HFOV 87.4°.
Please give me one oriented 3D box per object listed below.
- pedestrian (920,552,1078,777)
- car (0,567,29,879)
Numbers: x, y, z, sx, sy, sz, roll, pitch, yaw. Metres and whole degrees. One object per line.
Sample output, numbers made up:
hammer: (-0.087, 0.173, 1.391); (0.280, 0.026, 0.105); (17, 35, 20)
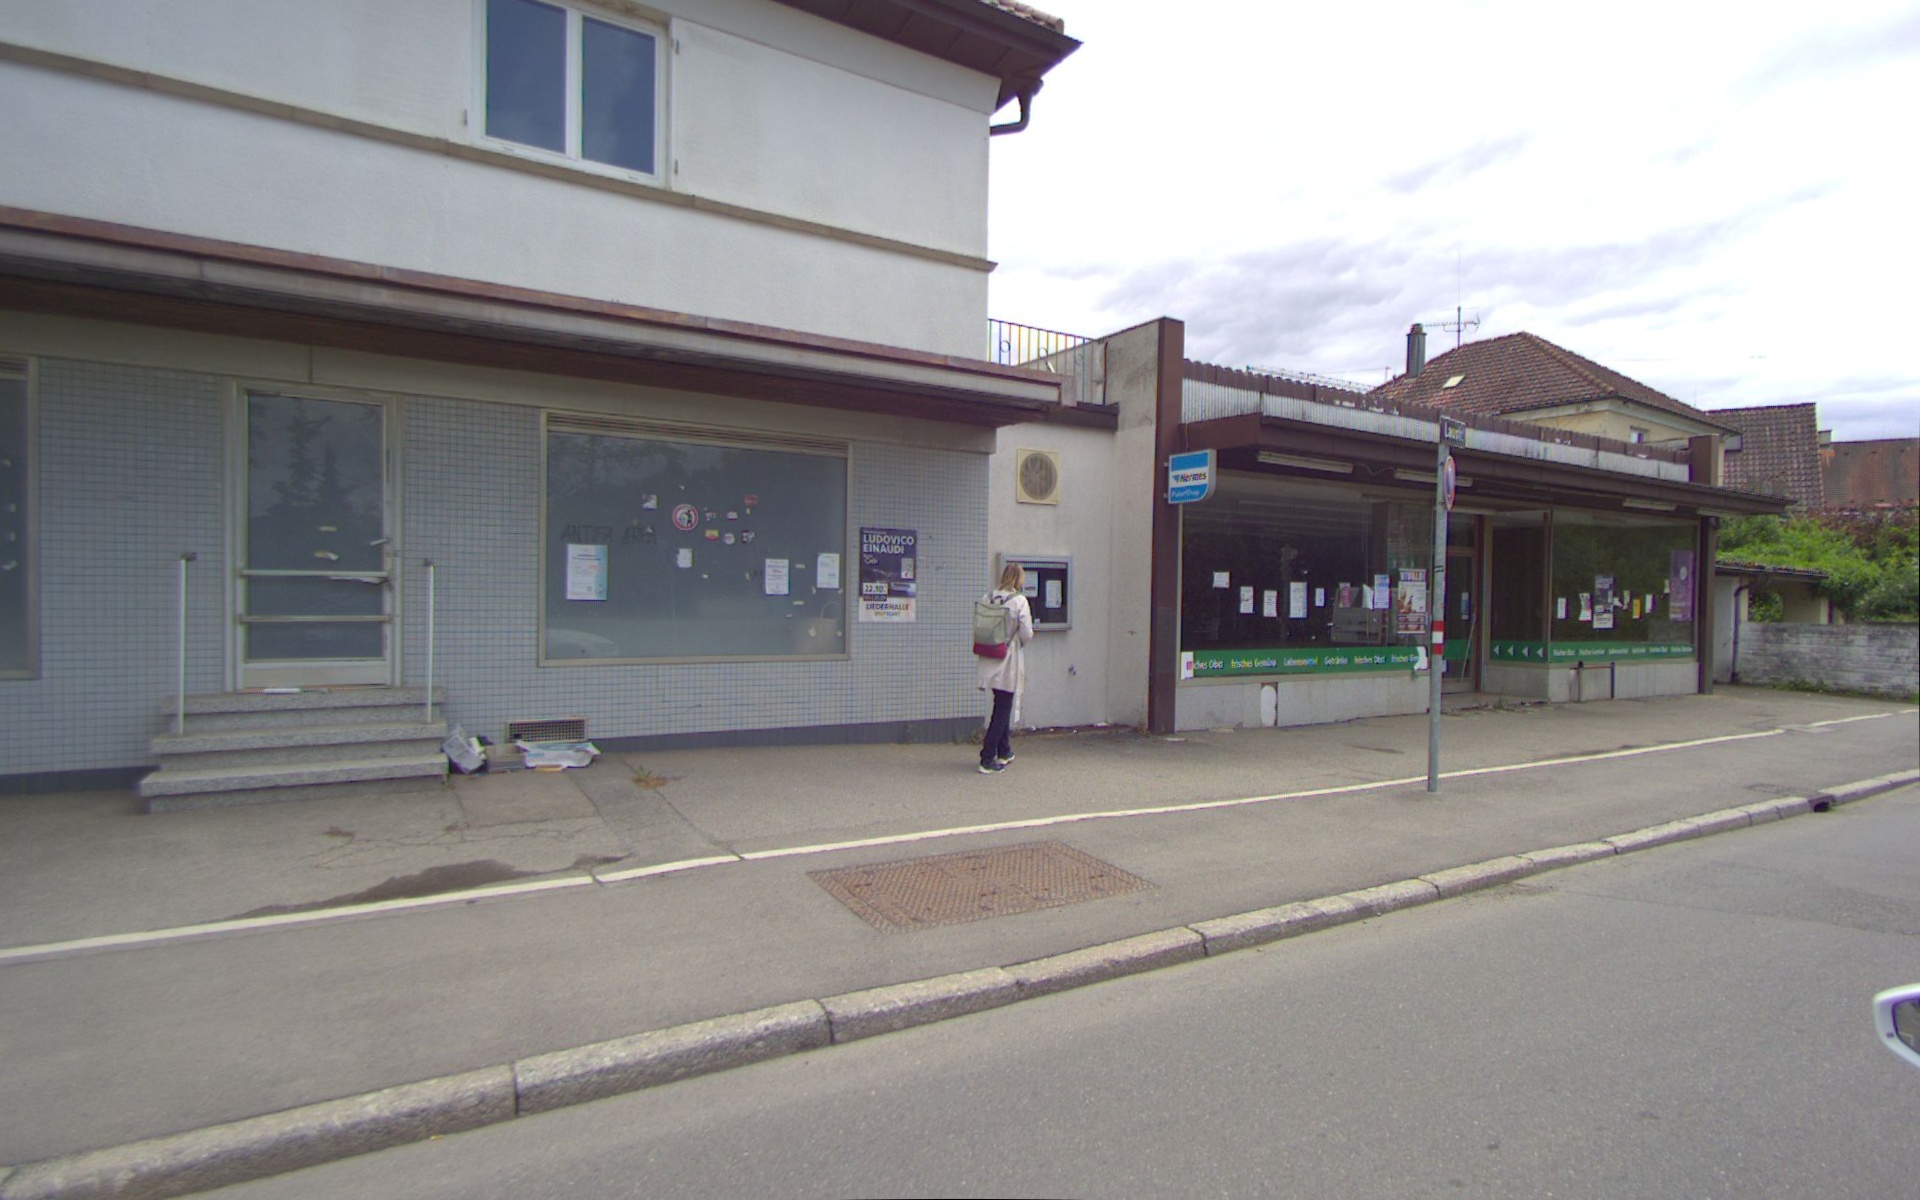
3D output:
pedestrian: (0.324, 0.506, 8.563); (0.954, 1.774, 0.876); (2, 1, -34)
car: (-6.365, 0.552, 3.316); (4.457, 1.461, 1.776); (2, 2, -20)
